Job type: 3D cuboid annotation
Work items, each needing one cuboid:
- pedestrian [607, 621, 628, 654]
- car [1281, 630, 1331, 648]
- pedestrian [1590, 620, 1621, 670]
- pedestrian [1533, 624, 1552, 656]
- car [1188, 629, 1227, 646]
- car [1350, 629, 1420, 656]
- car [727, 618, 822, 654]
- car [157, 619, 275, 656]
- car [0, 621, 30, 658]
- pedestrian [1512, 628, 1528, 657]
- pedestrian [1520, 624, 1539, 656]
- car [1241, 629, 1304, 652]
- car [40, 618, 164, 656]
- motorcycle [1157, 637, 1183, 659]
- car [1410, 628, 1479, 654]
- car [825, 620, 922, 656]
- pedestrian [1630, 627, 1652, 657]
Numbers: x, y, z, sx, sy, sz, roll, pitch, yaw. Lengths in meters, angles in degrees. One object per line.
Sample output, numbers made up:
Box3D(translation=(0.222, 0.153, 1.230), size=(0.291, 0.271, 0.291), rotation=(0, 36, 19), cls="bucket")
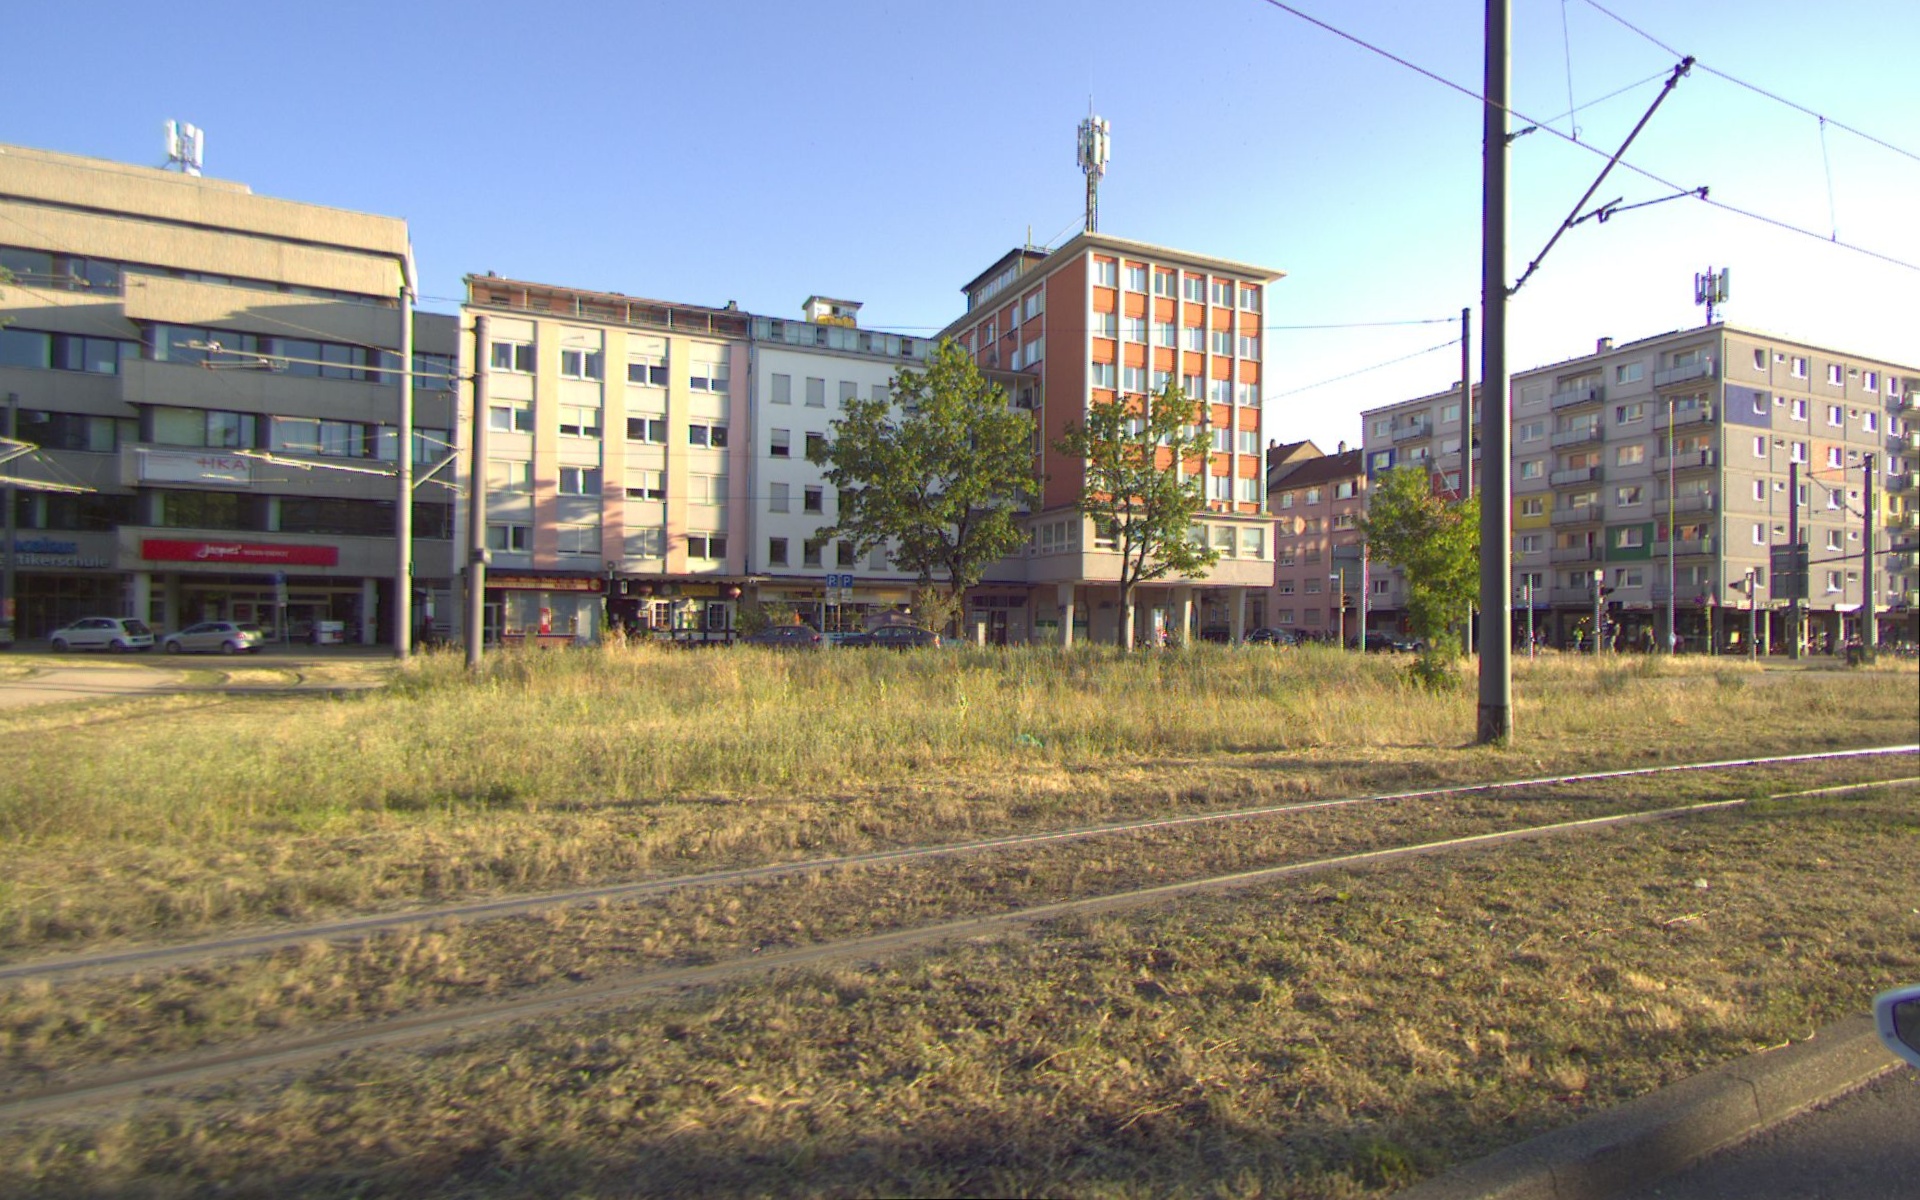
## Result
Box3D(translation=(-16.617, 1.796, 48.714), size=(0.842, 1.548, 1.114), rotation=(0, -1, -26), cls="pedestrian")
Box3D(translation=(31.953, 3.558, 92.927), size=(1.781, 1.606, 4.268), rotation=(0, -1, -29), cls="car")
Box3D(translation=(23.505, 1.621, 36.598), size=(0.637, 1.786, 0.721), rotation=(-1, -1, -3), cls="pedestrian")
Box3D(translation=(34.627, 2.387, 59.740), size=(0.810, 1.872, 0.601), rotation=(0, -1, -24), cls="pedestrian")
Box3D(translation=(25.441, 3.844, 103.511), size=(1.781, 1.606, 3.848), rotation=(0, -1, -29), cls="car")
Box3D(translation=(27.074, 2.694, 64.128), size=(1.781, 1.606, 3.848), rotation=(0, -1, -29), cls="car")
Box3D(translation=(-8.207, 1.584, 44.757), size=(3.922, 1.547, 1.760), rotation=(-1, -1, -2), cls="car")
Box3D(translation=(-32.652, 1.627, 44.140), size=(3.920, 1.572, 1.760), rotation=(-1, -1, 2), cls="car")
Box3D(translation=(-43.631, 1.749, 44.076), size=(3.922, 1.572, 1.760), rotation=(-1, -1, -1), cls="car")
Box3D(translation=(32.076, 2.437, 57.511), size=(0.606, 1.651, 0.513), rotation=(0, -1, -24), cls="pedestrian")
Box3D(translation=(34.452, 2.405, 60.751), size=(0.726, 1.876, 0.703), rotation=(0, -1, -24), cls="pedestrian")
Box3D(translation=(23.070, 2.953, 74.250), size=(1.964, 1.606, 4.262), rotation=(0, -1, -29), cls="car")
Box3D(translation=(-37.727, 1.615, 44.237), size=(3.922, 1.572, 1.760), rotation=(-1, -1, -1), cls="car")
Box3D(translation=(10.836, 2.460, 51.874), size=(0.524, 1.082, 1.446), rotation=(0, -1, -24), cls="motorcycle")
Box3D(translation=(32.237, 2.708, 66.911), size=(1.781, 1.606, 3.848), rotation=(0, -1, -29), cls="car")
Box3D(translation=(-3.797, 1.672, 44.681), size=(4.208, 1.547, 1.760), rotation=(-1, -1, -2), cls="car")
Box3D(translation=(39.571, 2.428, 58.405), size=(0.767, 1.692, 0.741), rotation=(-1, -1, 5), cls="pedestrian")
